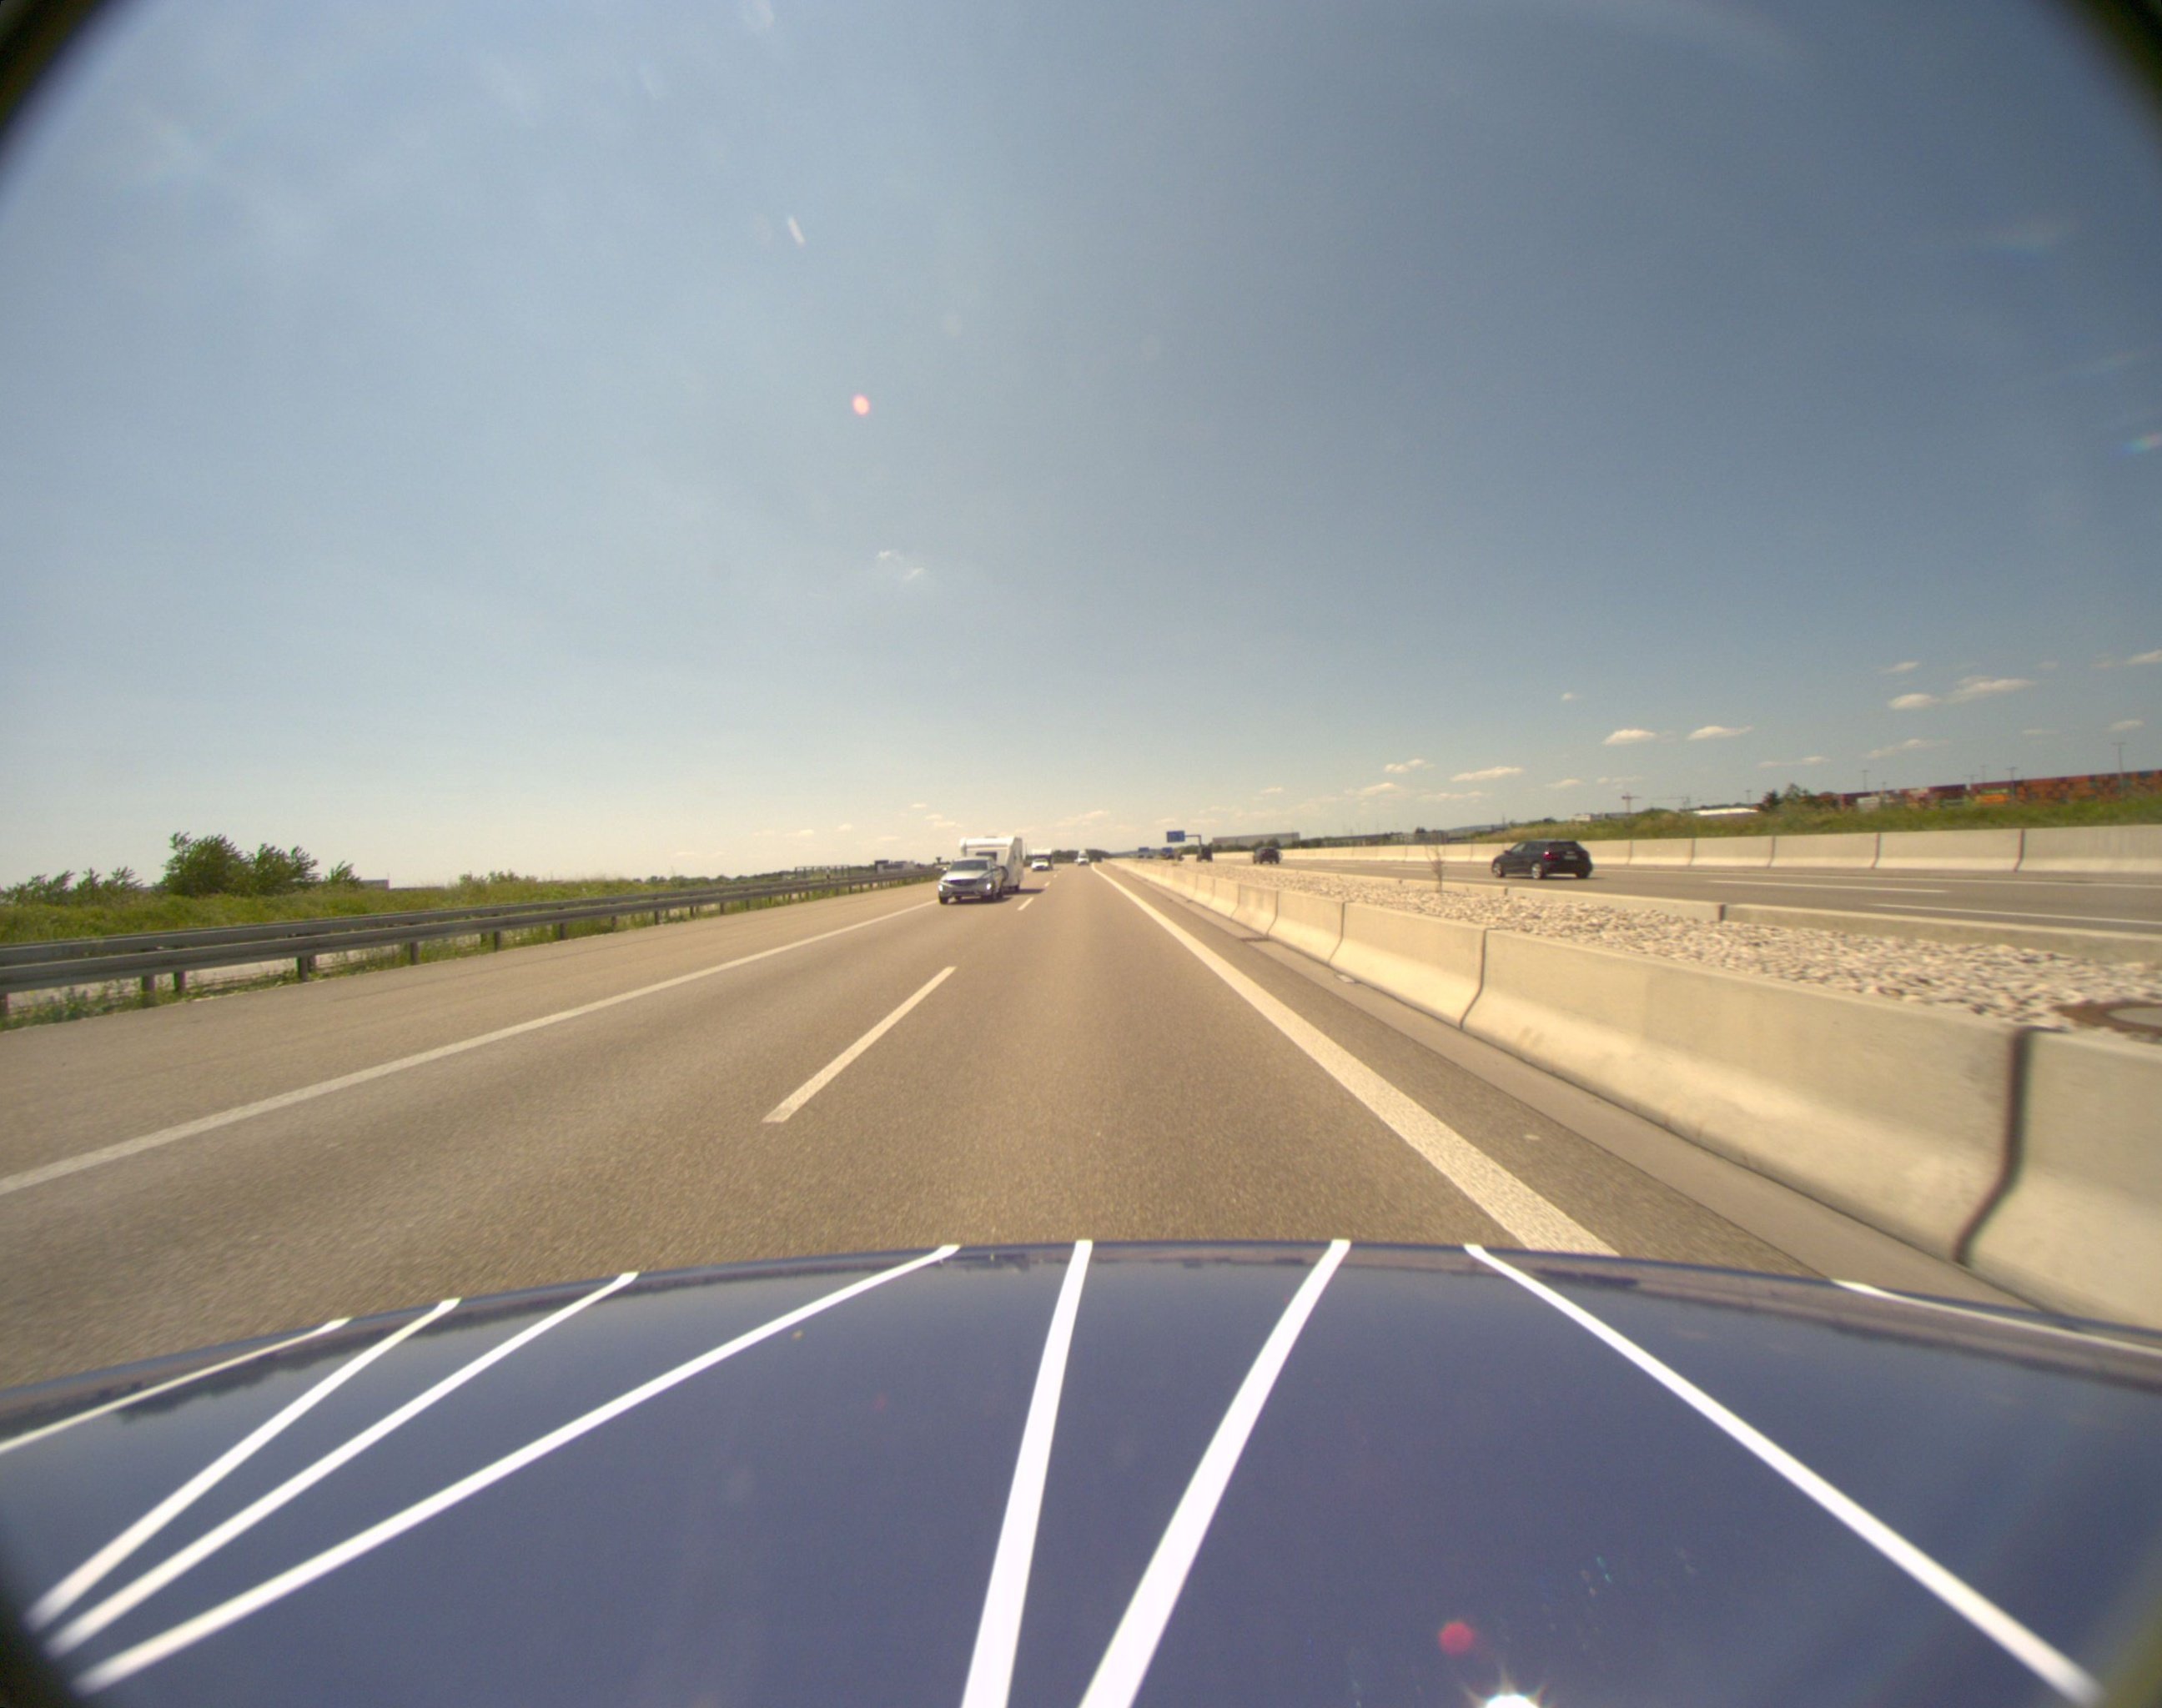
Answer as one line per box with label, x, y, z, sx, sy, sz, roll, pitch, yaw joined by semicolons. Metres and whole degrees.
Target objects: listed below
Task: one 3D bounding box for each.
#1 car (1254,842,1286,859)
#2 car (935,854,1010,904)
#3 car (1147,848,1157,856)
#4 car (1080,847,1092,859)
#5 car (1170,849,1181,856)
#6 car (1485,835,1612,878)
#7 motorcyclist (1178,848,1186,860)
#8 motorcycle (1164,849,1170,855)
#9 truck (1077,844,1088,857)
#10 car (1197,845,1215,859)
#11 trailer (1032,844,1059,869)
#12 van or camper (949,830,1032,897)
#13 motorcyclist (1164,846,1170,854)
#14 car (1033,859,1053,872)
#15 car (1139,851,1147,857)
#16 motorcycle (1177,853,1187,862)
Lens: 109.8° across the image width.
car;17.908;-0.310;72.270;1.873;1.482;5.139;-3;0;2
car;-3.883;0.869;28.050;1.885;1.613;4.904;-2;0;1
car;15.733;-0.352;168.977;1.998;1.659;4.649;-2;0;2
car;0.887;-0.167;129.422;1.998;2.002;4.000;-3;0;1
car;20.493;-0.334;165.068;1.915;1.450;4.284;-2;0;0
car;16.709;0.066;27.456;1.998;1.371;4.364;-2;0;3
motorcyclist;13.737;0.052;103.605;0.922;1.612;1.088;-2;1;1
motorcycle;14.913;-0.379;132.101;0.777;0.897;2.705;-2;0;2
truck;0.370;-0.869;174.579;2.168;2.797;6.490;-3;0;1
car;18.020;-0.289;109.726;1.889;2.006;4.735;-2;0;2
trailer;-4.156;0.322;90.654;2.500;2.686;7.157;-2;-1;3
van or camper;-3.871;0.430;34.266;2.518;2.577;7.818;-2;-1;1
motorcyclist;14.912;-0.701;132.315;0.920;1.488;0.923;-2;0;1
car;-4.221;1.317;85.234;1.872;1.351;3.673;-1;-1;3
car;17.602;-0.094;216.390;1.889;1.676;5.016;-2;0;2
motorcycle;13.758;0.408;103.829;0.960;1.162;2.722;-2;0;1
